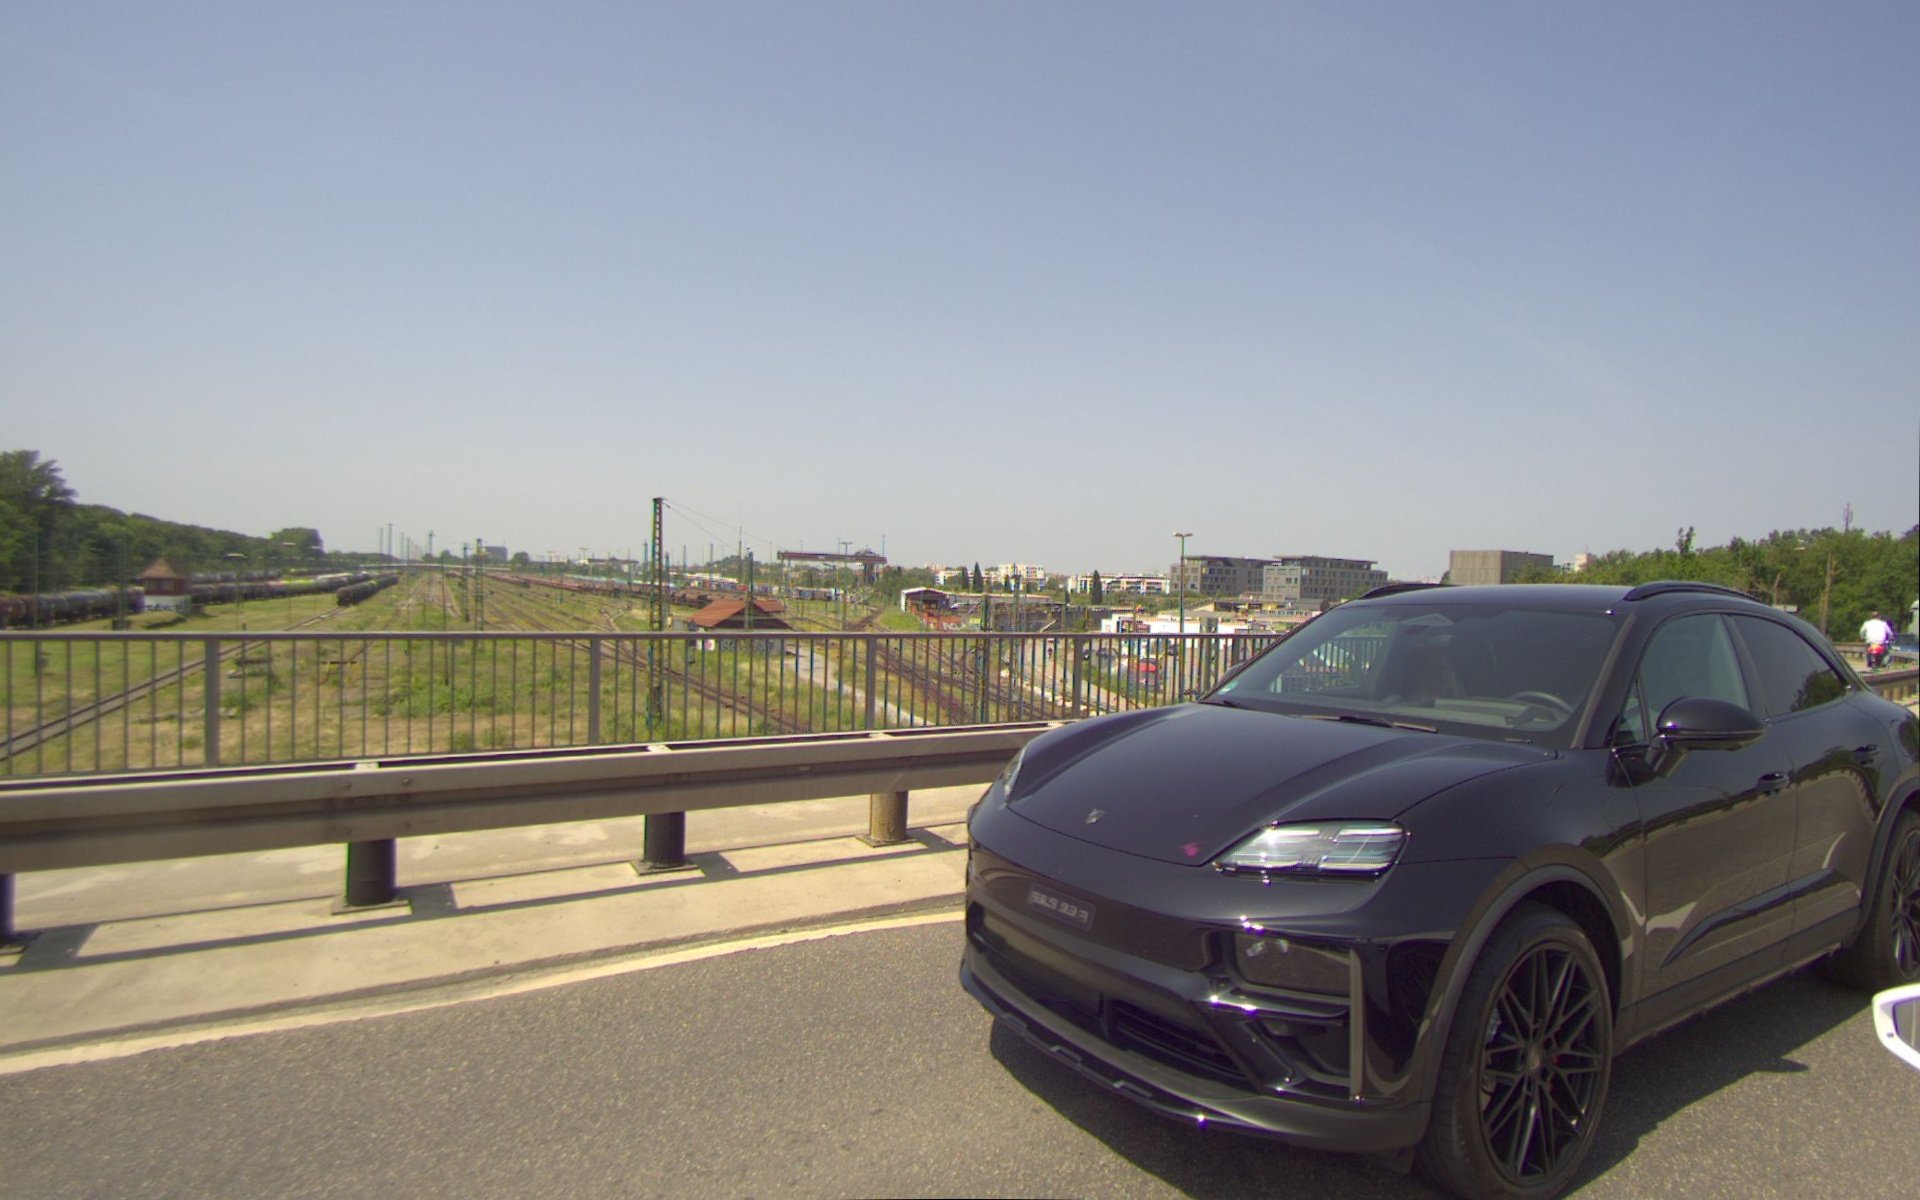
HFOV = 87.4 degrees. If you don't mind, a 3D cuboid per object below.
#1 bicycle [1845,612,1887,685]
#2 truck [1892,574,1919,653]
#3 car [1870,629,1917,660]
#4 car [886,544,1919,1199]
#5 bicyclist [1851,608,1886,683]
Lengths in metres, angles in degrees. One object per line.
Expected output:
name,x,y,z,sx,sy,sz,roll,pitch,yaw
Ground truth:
bicycle,23.690,1.237,26.242,0.691,1.826,2.167,1,0,45
truck,57.213,0.779,57.962,3.520,4.500,6.503,1,0,29
car,49.289,2.316,53.066,1.577,1.506,2.736,1,0,38
car,2.097,0.710,3.978,4.439,1.617,1.881,1,0,-34
bicyclist,23.752,1.170,26.257,0.618,1.911,0.708,1,1,44
